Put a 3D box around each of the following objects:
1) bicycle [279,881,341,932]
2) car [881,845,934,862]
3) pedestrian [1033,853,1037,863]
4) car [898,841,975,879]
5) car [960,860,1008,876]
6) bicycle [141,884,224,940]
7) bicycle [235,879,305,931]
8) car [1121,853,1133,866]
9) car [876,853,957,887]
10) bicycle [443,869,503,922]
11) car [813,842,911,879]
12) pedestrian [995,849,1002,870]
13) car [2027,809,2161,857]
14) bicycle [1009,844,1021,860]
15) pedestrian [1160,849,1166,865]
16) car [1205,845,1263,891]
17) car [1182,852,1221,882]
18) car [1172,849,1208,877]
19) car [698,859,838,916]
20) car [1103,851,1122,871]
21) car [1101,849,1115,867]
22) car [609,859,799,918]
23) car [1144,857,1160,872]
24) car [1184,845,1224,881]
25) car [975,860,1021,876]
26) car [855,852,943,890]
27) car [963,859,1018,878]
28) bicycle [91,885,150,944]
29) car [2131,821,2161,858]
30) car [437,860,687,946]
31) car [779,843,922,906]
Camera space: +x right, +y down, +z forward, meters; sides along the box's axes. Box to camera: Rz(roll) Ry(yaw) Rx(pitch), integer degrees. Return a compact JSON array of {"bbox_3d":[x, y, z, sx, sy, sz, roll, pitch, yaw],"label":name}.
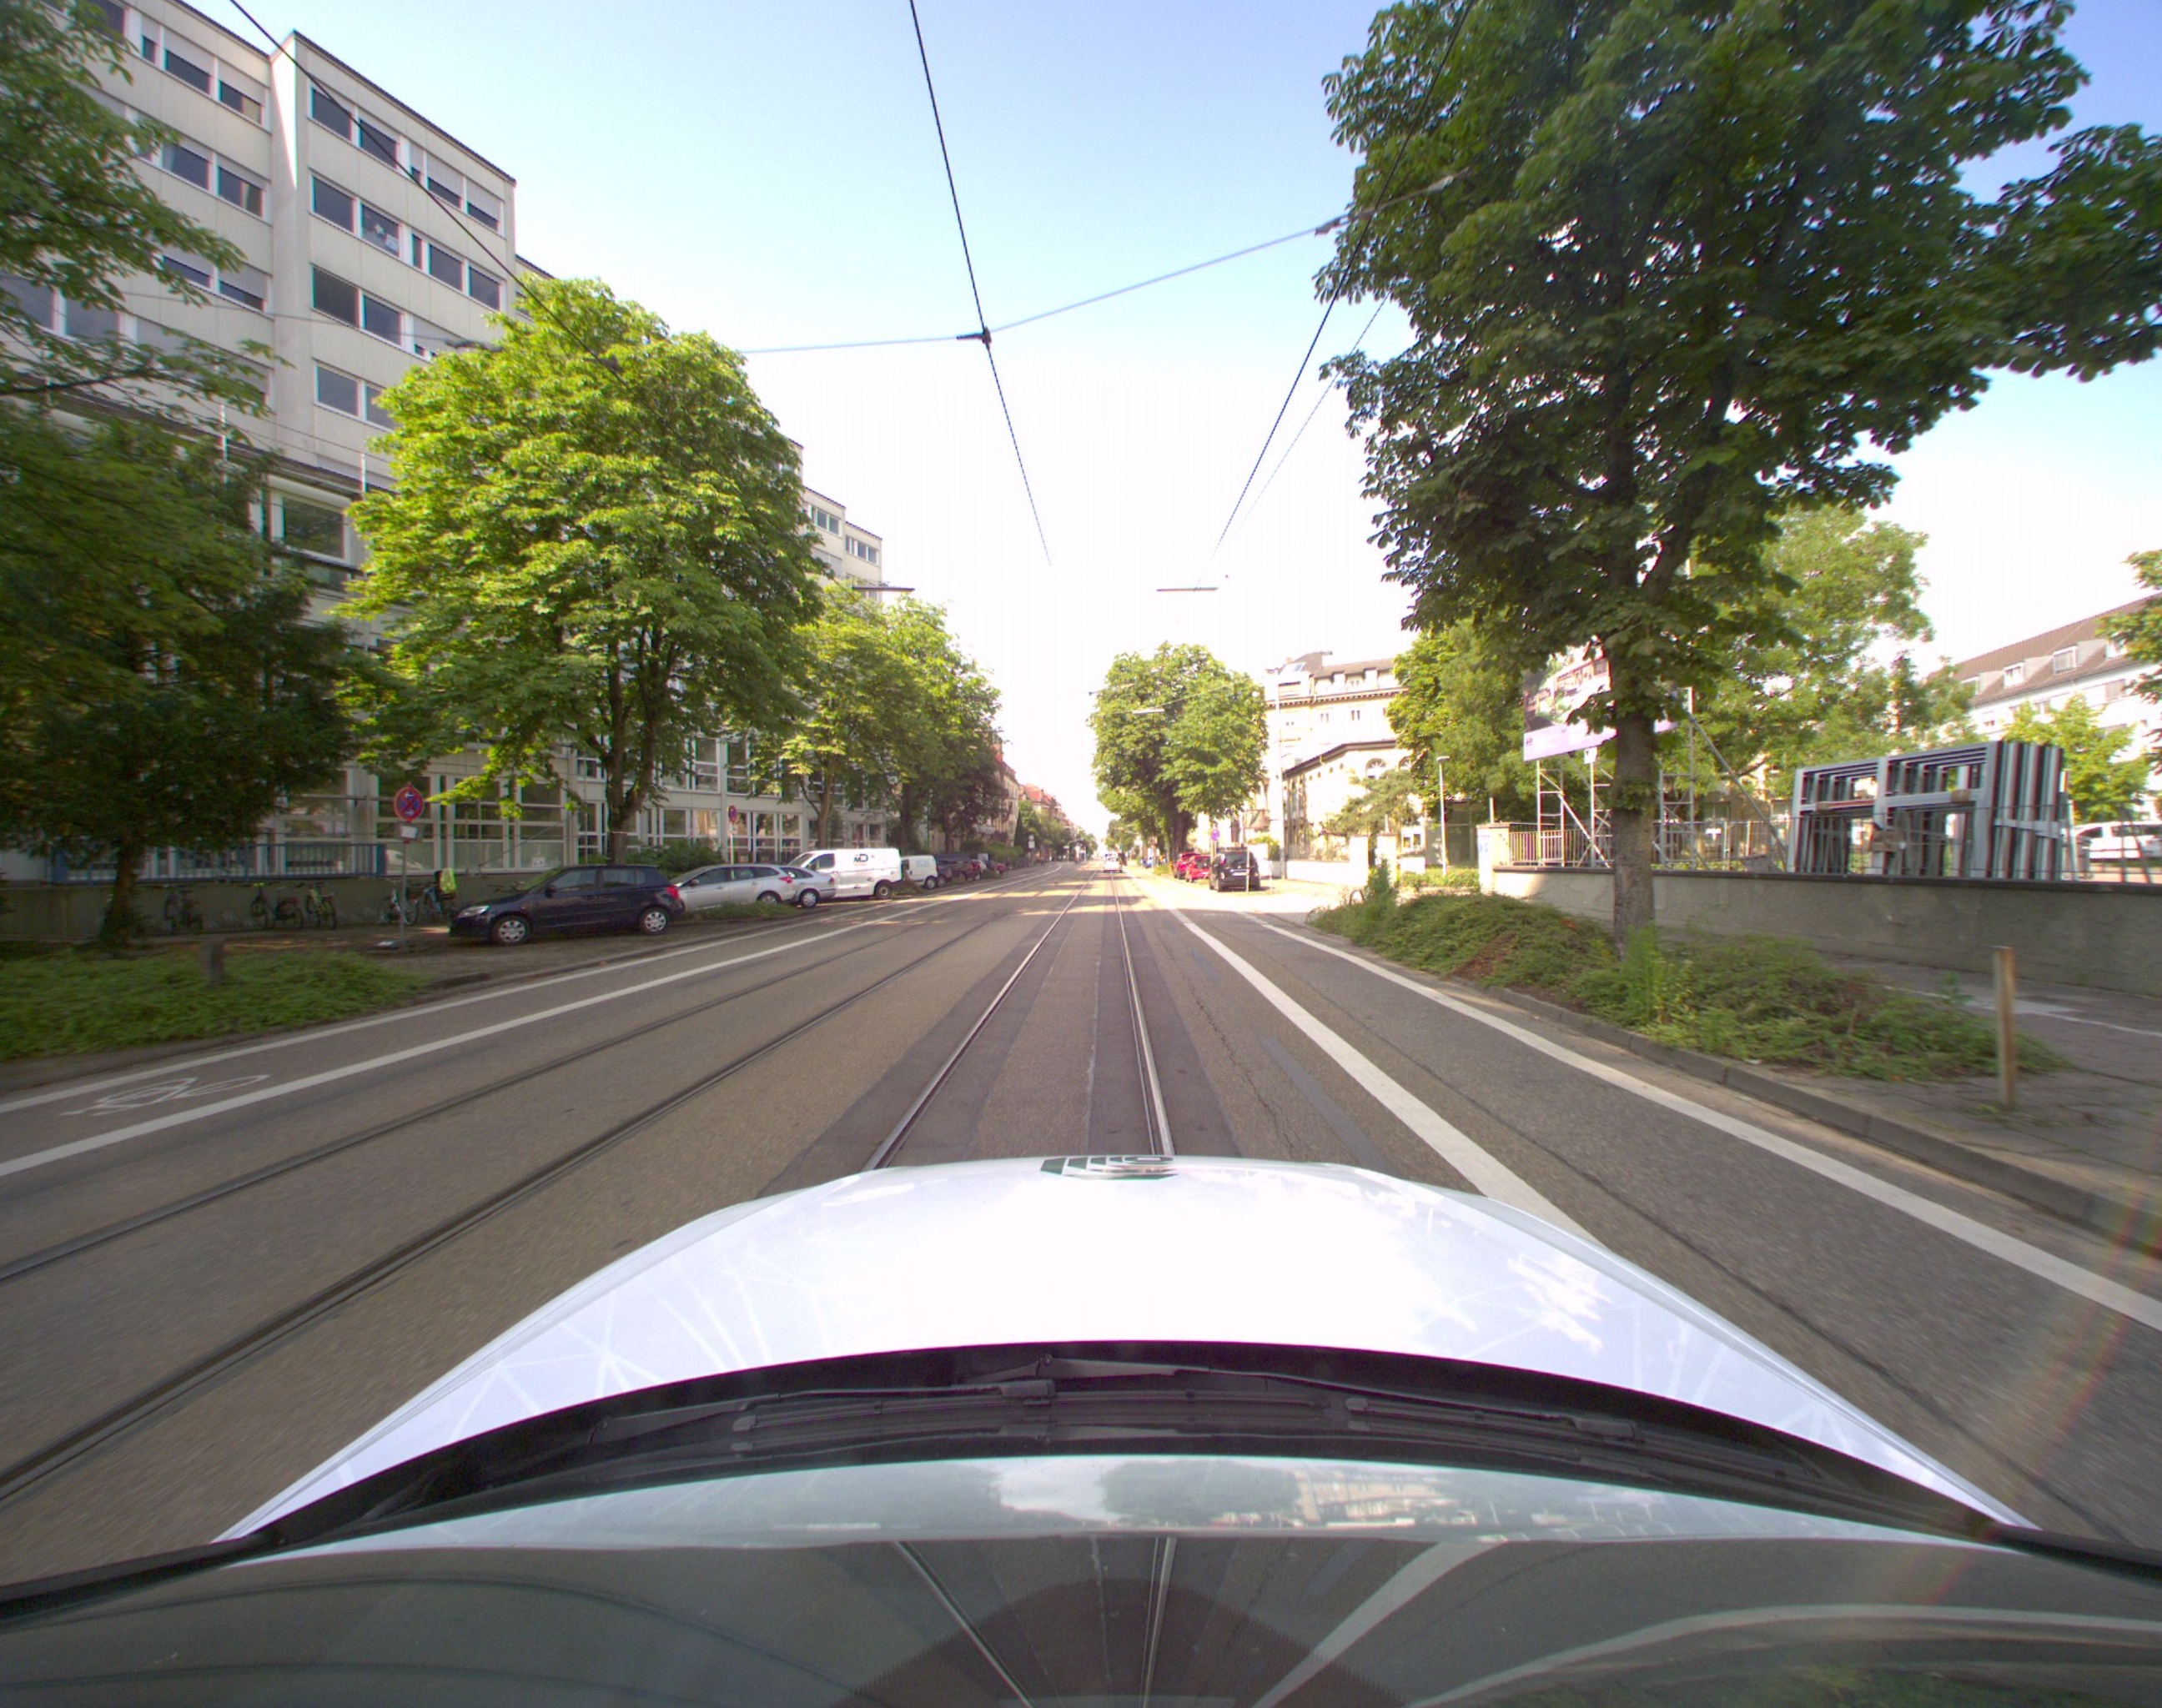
[{"bbox_3d":[-17.768,1.189,18.759,2.030,1.087,0.500,0,0,31],"label":"bicycle"},{"bbox_3d":[-13.701,-0.048,64.451,3.804,1.306,1.620,0,0,-37],"label":"car"},{"bbox_3d":[-9.401,0.875,166.838,0.884,2.013,0.786,0,0,-7],"label":"pedestrian"},{"bbox_3d":[-8.746,0.390,49.519,4.228,2.081,1.861,3,0,-44],"label":"car"},{"bbox_3d":[-8.302,1.159,70.082,3.804,1.306,1.620,0,0,-37],"label":"car"},{"bbox_3d":[-18.788,1.188,17.024,2.031,1.087,0.500,0,0,22],"label":"bicycle"},{"bbox_3d":[-18.144,1.109,18.206,2.030,1.087,0.500,0,0,27],"label":"bicycle"},{"bbox_3d":[6.677,0.736,117.734,1.615,1.849,3.566,0,0,2],"label":"car"},{"bbox_3d":[-8.687,0.823,43.202,3.780,1.712,1.860,-1,0,-44],"label":"car"},{"bbox_3d":[-16.452,1.105,22.021,1.878,1.364,0.440,0,0,25],"label":"bicycle"},{"bbox_3d":[-9.328,0.264,34.794,1.740,1.501,3.658,-2,-1,44],"label":"car"},{"bbox_3d":[-8.131,0.520,79.853,0.613,2.013,0.501,0,0,1],"label":"pedestrian"},{"bbox_3d":[48.737,-0.965,38.431,4.891,1.965,2.012,-3,-4,31],"label":"car"},{"bbox_3d":[-7.422,-0.197,91.485,0.933,1.746,2.289,-1,0,8],"label":"bicycle"},{"bbox_3d":[10.762,0.410,106.947,0.757,2.013,0.765,0,0,3],"label":"pedestrian"},{"bbox_3d":[6.119,0.525,32.830,1.668,1.611,3.586,-3,1,2],"label":"car"},{"bbox_3d":[6.532,0.666,44.406,1.660,1.486,3.281,-3,0,2],"label":"car"},{"bbox_3d":[6.875,0.532,51.614,1.952,1.706,4.004,0,0,3],"label":"car"},{"bbox_3d":[-10.017,1.041,26.208,3.805,1.475,1.705,-4,1,-42],"label":"car"},{"bbox_3d":[2.779,0.622,71.567,1.615,1.684,3.566,0,0,2],"label":"car"},{"bbox_3d":[3.161,0.465,95.437,1.615,2.000,3.566,0,0,2],"label":"car"},{"bbox_3d":[-10.413,0.895,22.740,1.718,1.426,4.488,-1,0,45],"label":"car"},{"bbox_3d":[8.145,1.190,93.953,1.615,1.684,3.566,0,0,2],"label":"car"},{"bbox_3d":[6.610,0.459,44.014,1.668,1.611,3.587,-4,3,2],"label":"car"},{"bbox_3d":[-7.353,1.256,72.660,3.804,1.306,1.620,0,0,-37],"label":"car"},{"bbox_3d":[-8.873,0.786,39.854,3.780,1.712,1.860,-1,0,-44],"label":"car"},{"bbox_3d":[-6.660,1.032,60.047,3.804,1.306,1.620,0,0,-37],"label":"car"},{"bbox_3d":[-18.921,1.164,16.027,1.877,1.069,0.440,0,0,31],"label":"bicycle"},{"bbox_3d":[44.138,-0.654,31.518,3.866,1.420,1.769,-3,-2,29],"label":"car"},{"bbox_3d":[-10.295,0.871,16.327,4.021,1.462,1.739,-1,0,-41],"label":"car"},{"bbox_3d":[-8.551,0.716,30.483,4.667,1.911,1.910,-5,2,-40],"label":"car"}]
